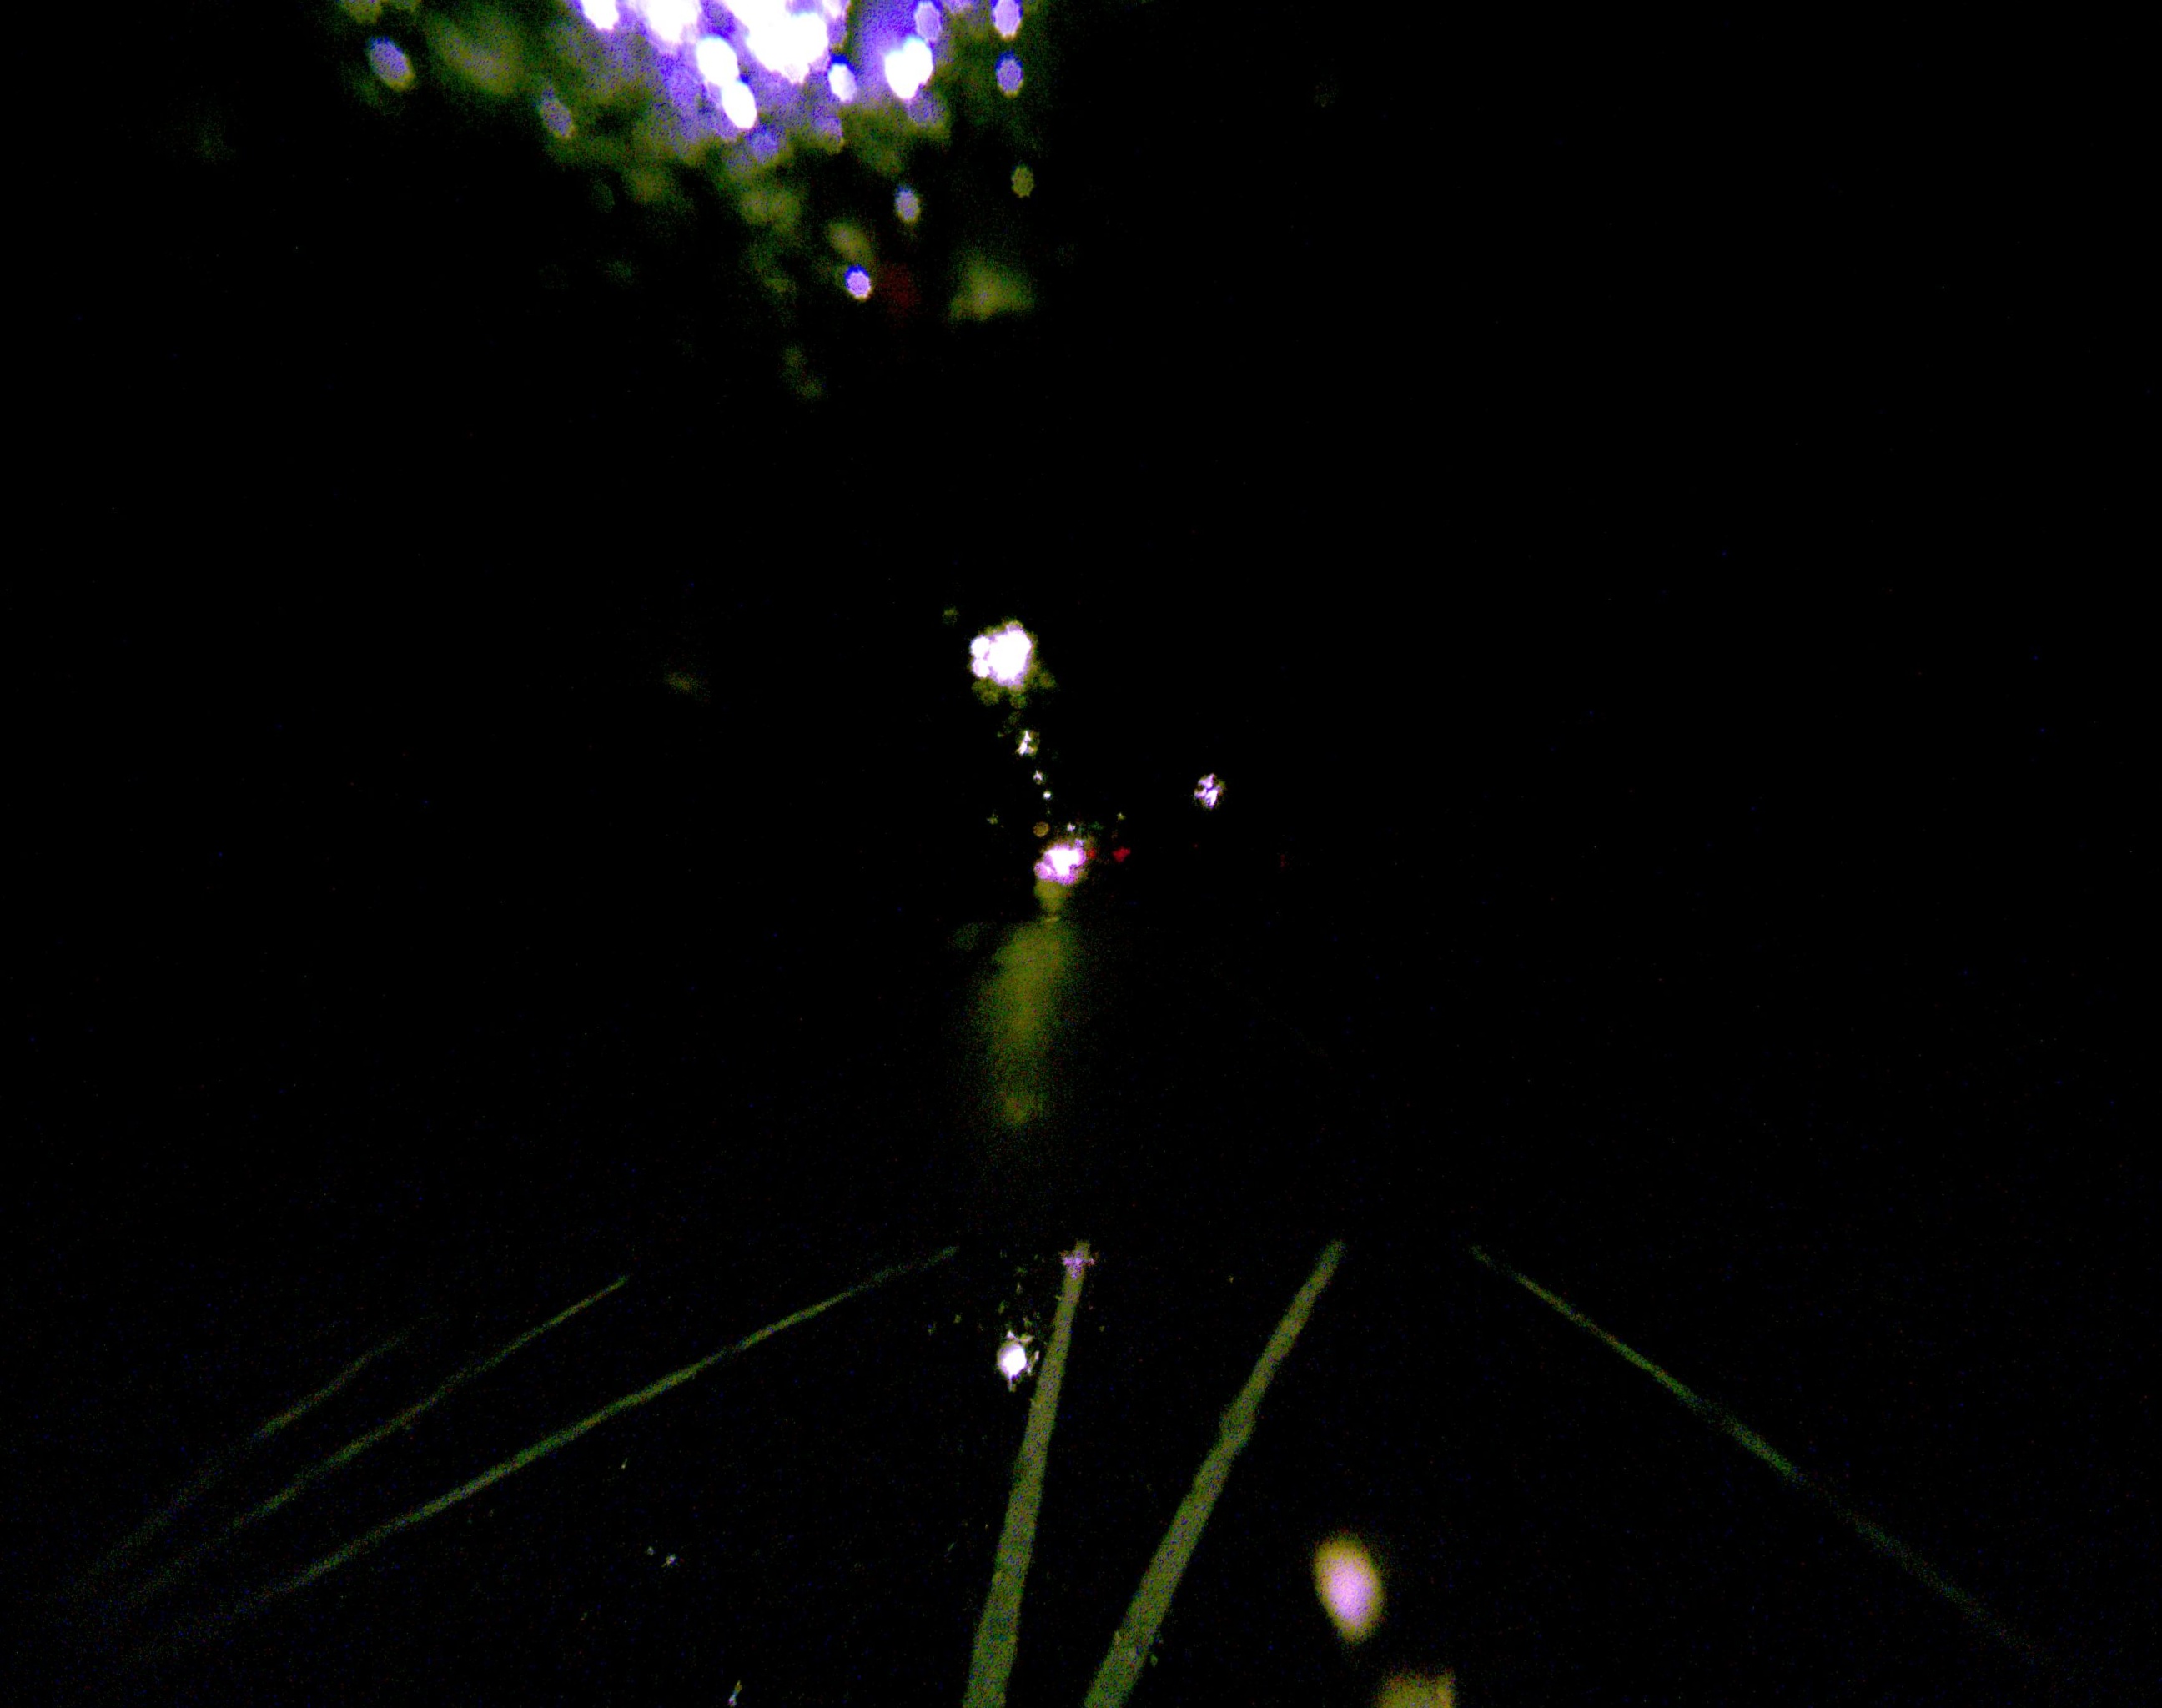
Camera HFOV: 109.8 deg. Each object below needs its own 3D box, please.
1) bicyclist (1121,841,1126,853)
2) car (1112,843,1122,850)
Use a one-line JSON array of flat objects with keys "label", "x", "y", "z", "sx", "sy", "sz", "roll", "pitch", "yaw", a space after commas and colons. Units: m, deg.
[{"label": "bicyclist", "x": 6.171, "y": -1.012, "z": 109.977, "sx": 0.638, "sy": 1.585, "sz": 0.960, "roll": -3, "pitch": -1, "yaw": -2}, {"label": "car", "x": 8.950, "y": -1.901, "z": 188.927, "sx": 1.997, "sy": 1.447, "sz": 4.304, "roll": 2, "pitch": 1, "yaw": 6}]
